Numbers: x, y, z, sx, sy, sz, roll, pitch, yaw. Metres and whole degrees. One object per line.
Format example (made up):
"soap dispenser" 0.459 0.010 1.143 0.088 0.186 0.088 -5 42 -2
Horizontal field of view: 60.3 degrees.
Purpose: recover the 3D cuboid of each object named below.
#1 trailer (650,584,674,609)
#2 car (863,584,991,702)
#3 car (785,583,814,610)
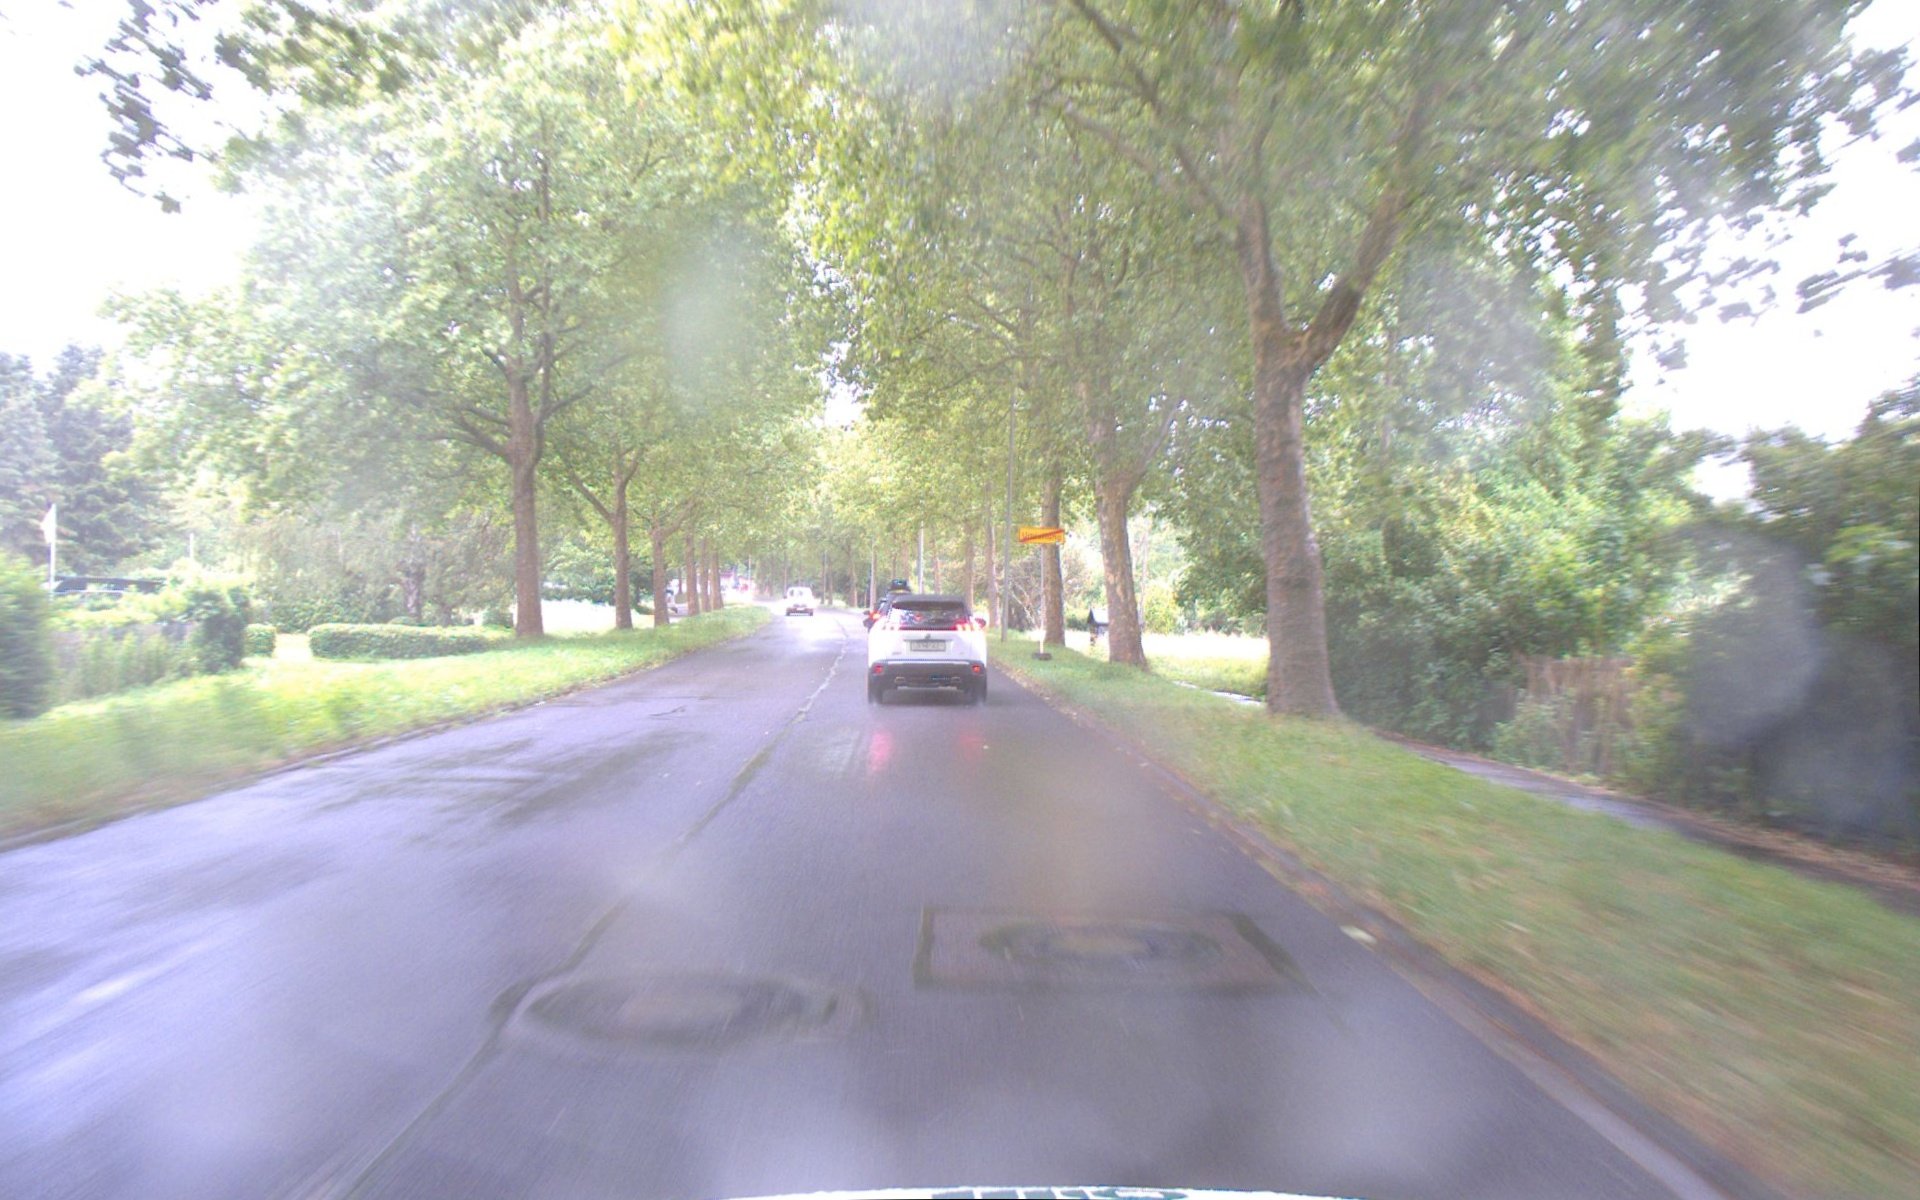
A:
"trailer" -32.590 -0.387 181.026 2.439 2.612 5.320 2 0 -10
"car" -0.480 0.589 25.099 1.757 1.606 3.844 2 0 -1
"car" -11.071 -0.235 114.549 1.826 1.780 5.011 2 0 -4
